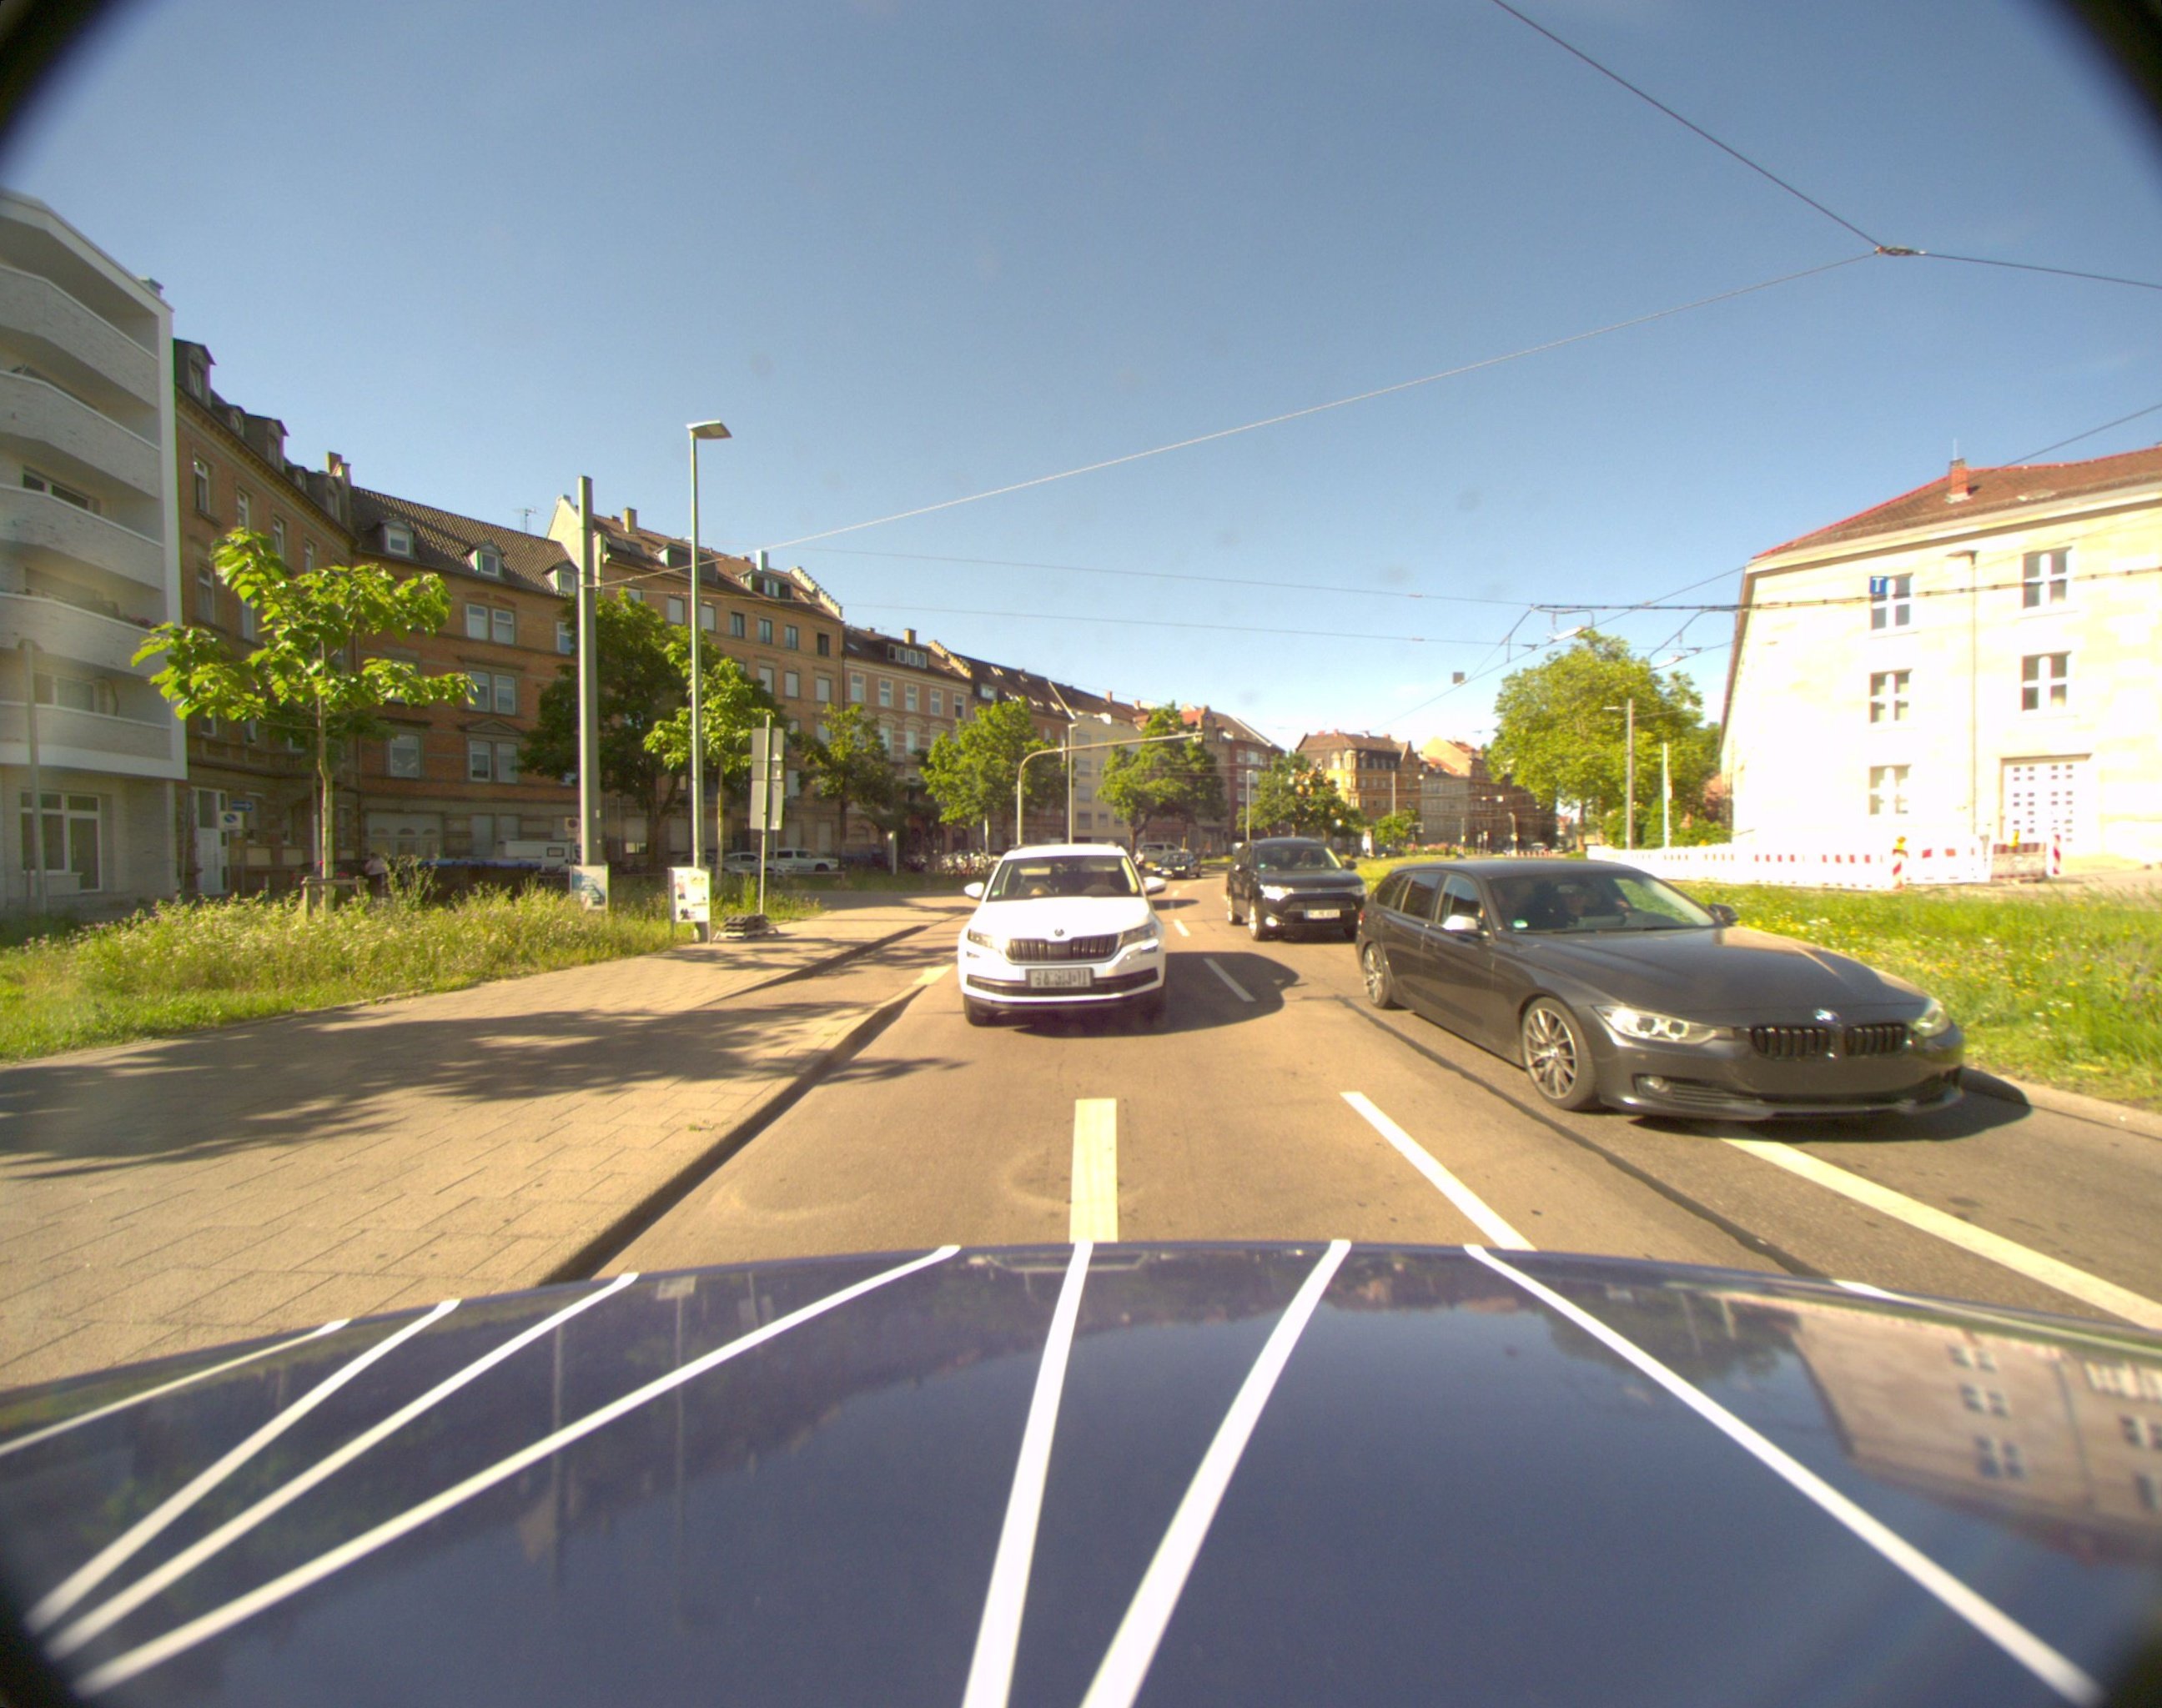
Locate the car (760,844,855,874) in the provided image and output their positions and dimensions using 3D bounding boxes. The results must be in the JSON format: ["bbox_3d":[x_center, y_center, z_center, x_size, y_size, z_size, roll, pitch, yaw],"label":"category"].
[{"bbox_3d":[-14.841,0.265,41.339,4.464,1.556,1.939,-1,1,8],"label":"car"}]

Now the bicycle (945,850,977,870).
[{"bbox_3d":[-7.381,0.357,46.623,1.957,1.185,0.843,2,2,39],"label":"bicycle"}]

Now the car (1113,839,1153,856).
[{"bbox_3d":[5.563,-0.679,81.218,1.994,1.789,4.636,2,1,38],"label":"car"}]

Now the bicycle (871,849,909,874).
[{"bbox_3d":[-10.866,0.418,43.186,2.094,1.390,0.789,-1,1,28],"label":"bicycle"}]

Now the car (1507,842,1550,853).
[{"bbox_3d":[63.939,-0.936,108.641,4.946,1.445,1.839,1,2,43],"label":"car"}]

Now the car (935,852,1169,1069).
[{"bbox_3d":[-0.155,0.832,8.137,1.801,1.626,4.394,-1,1,2],"label":"car"}]

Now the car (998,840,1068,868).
[{"bbox_3d":[-3.530,-0.025,56.291,4.874,2.002,2.101,1,2,5],"label":"car"}]

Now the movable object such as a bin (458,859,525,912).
[{"bbox_3d":[-16.408,0.849,21.194,1.323,1.390,1.108,-1,1,-31],"label":"movable object such as a bin"}]

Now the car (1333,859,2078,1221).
[{"bbox_3d":[3.460,0.827,5.536,1.738,1.415,4.467,-4,1,1],"label":"car"}]

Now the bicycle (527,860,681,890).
[{"bbox_3d":[-21.412,0.911,34.360,2.676,1.120,5.232,-1,1,34],"label":"bicycle"}]

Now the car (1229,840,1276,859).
[{"bbox_3d":[19.126,-0.527,84.832,4.875,2.063,2.021,1,1,4],"label":"car"}]

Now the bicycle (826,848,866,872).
[{"bbox_3d":[-14.055,0.338,45.426,2.099,1.357,0.787,-1,1,-2],"label":"bicycle"}]

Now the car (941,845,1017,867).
[{"bbox_3d":[-6.843,0.129,51.408,4.747,1.372,2.047,-1,1,5],"label":"car"}]

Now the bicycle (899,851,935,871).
[{"bbox_3d":[-9.758,0.418,45.191,2.163,1.151,0.824,-1,1,35],"label":"bicycle"}]

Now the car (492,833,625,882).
[{"bbox_3d":[-26.940,0.164,39.334,2.349,2.344,5.199,2,1,40],"label":"car"}]

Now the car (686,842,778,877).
[{"bbox_3d":[-21.456,0.310,46.817,1.994,1.966,4.734,2,1,39],"label":"car"}]

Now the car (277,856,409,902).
[{"bbox_3d":[-25.906,0.807,26.868,2.002,1.428,4.099,-2,1,-24],"label":"car"}]

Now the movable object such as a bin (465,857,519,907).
[{"bbox_3d":[-17.182,0.804,22.196,1.092,1.390,1.029,-1,1,-31],"label":"movable object such as a bin"}]

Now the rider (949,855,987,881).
[{"bbox_3d":[-5.455,0.651,36.692,1.678,1.169,0.502,-3,2,-34],"label":"rider"}]

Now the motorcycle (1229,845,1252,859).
[{"bbox_3d":[17.288,-0.213,82.482,2.262,1.412,0.854,0,1,-10],"label":"motorcycle"}]

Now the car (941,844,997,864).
[{"bbox_3d":[-9.246,-0.009,62.967,1.994,1.520,4.522,2,1,35],"label":"car"}]

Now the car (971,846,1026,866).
[{"bbox_3d":[-5.840,0.125,54.043,3.610,1.372,1.926,-1,1,5],"label":"car"}]

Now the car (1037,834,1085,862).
[{"bbox_3d":[-1.820,-0.595,72.012,1.994,2.570,4.522,2,2,40],"label":"car"}]

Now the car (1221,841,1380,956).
[{"bbox_3d":[3.678,0.648,13.602,1.840,1.672,4.644,-2,0,5],"label":"car"}]

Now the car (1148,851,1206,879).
[{"bbox_3d":[5.313,0.581,41.485,1.886,1.419,4.383,-1,1,25],"label":"car"}]

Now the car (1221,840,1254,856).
[{"bbox_3d":[20.392,-0.774,98.658,1.997,1.464,4.497,-15,-5,41],"label":"car"}]

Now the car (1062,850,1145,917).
[{"bbox_3d":[0.647,0.711,20.624,1.998,1.608,4.264,-1,1,3],"label":"car"}]

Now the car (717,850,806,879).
[{"bbox_3d":[-16.364,0.520,39.035,3.838,1.433,1.761,-1,1,8],"label":"car"}]

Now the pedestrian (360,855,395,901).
[{"bbox_3d":[-24.722,0.826,26.706,0.641,1.568,0.773,0,2,39],"label":"pedestrian"}]

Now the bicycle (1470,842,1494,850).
[{"bbox_3d":[73.304,-1.476,138.852,1.964,1.408,6.841,2,2,43],"label":"bicycle"}]

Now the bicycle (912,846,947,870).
[{"bbox_3d":[-9.206,0.249,46.050,2.094,1.357,0.789,-1,1,34],"label":"bicycle"}]

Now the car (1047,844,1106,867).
[{"bbox_3d":[-0.347,0.064,61.348,4.505,1.718,2.001,1,2,10],"label":"car"}]

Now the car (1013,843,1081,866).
[{"bbox_3d":[-2.627,0.029,59.113,4.872,1.639,2.102,1,2,10],"label":"car"}]

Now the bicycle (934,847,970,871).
[{"bbox_3d":[-7.532,0.270,44.275,2.094,1.357,0.789,0,1,34],"label":"bicycle"}]

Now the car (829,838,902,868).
[{"bbox_3d":[-15.332,-0.082,54.199,1.994,1.966,4.734,2,1,38],"label":"car"}]

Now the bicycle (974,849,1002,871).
[{"bbox_3d":[-5.596,0.346,45.820,1.598,1.283,0.769,0,1,-11],"label":"bicycle"}]

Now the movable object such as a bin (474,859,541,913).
[{"bbox_3d":[-15.432,0.834,20.486,1.306,1.390,1.069,-1,1,-31],"label":"movable object such as a bin"}]

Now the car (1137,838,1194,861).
[{"bbox_3d":[7.904,-0.473,70.859,5.179,2.002,2.102,1,2,10],"label":"car"}]

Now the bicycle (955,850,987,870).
[{"bbox_3d":[-6.852,0.339,47.385,1.945,1.174,0.902,2,2,38],"label":"bicycle"}]

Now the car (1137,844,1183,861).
[{"bbox_3d":[7.098,-0.135,68.062,4.025,1.470,1.813,1,2,5],"label":"car"}]

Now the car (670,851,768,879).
[{"bbox_3d":[-17.585,0.524,36.957,4.049,1.329,1.841,-1,1,14],"label":"car"}]
